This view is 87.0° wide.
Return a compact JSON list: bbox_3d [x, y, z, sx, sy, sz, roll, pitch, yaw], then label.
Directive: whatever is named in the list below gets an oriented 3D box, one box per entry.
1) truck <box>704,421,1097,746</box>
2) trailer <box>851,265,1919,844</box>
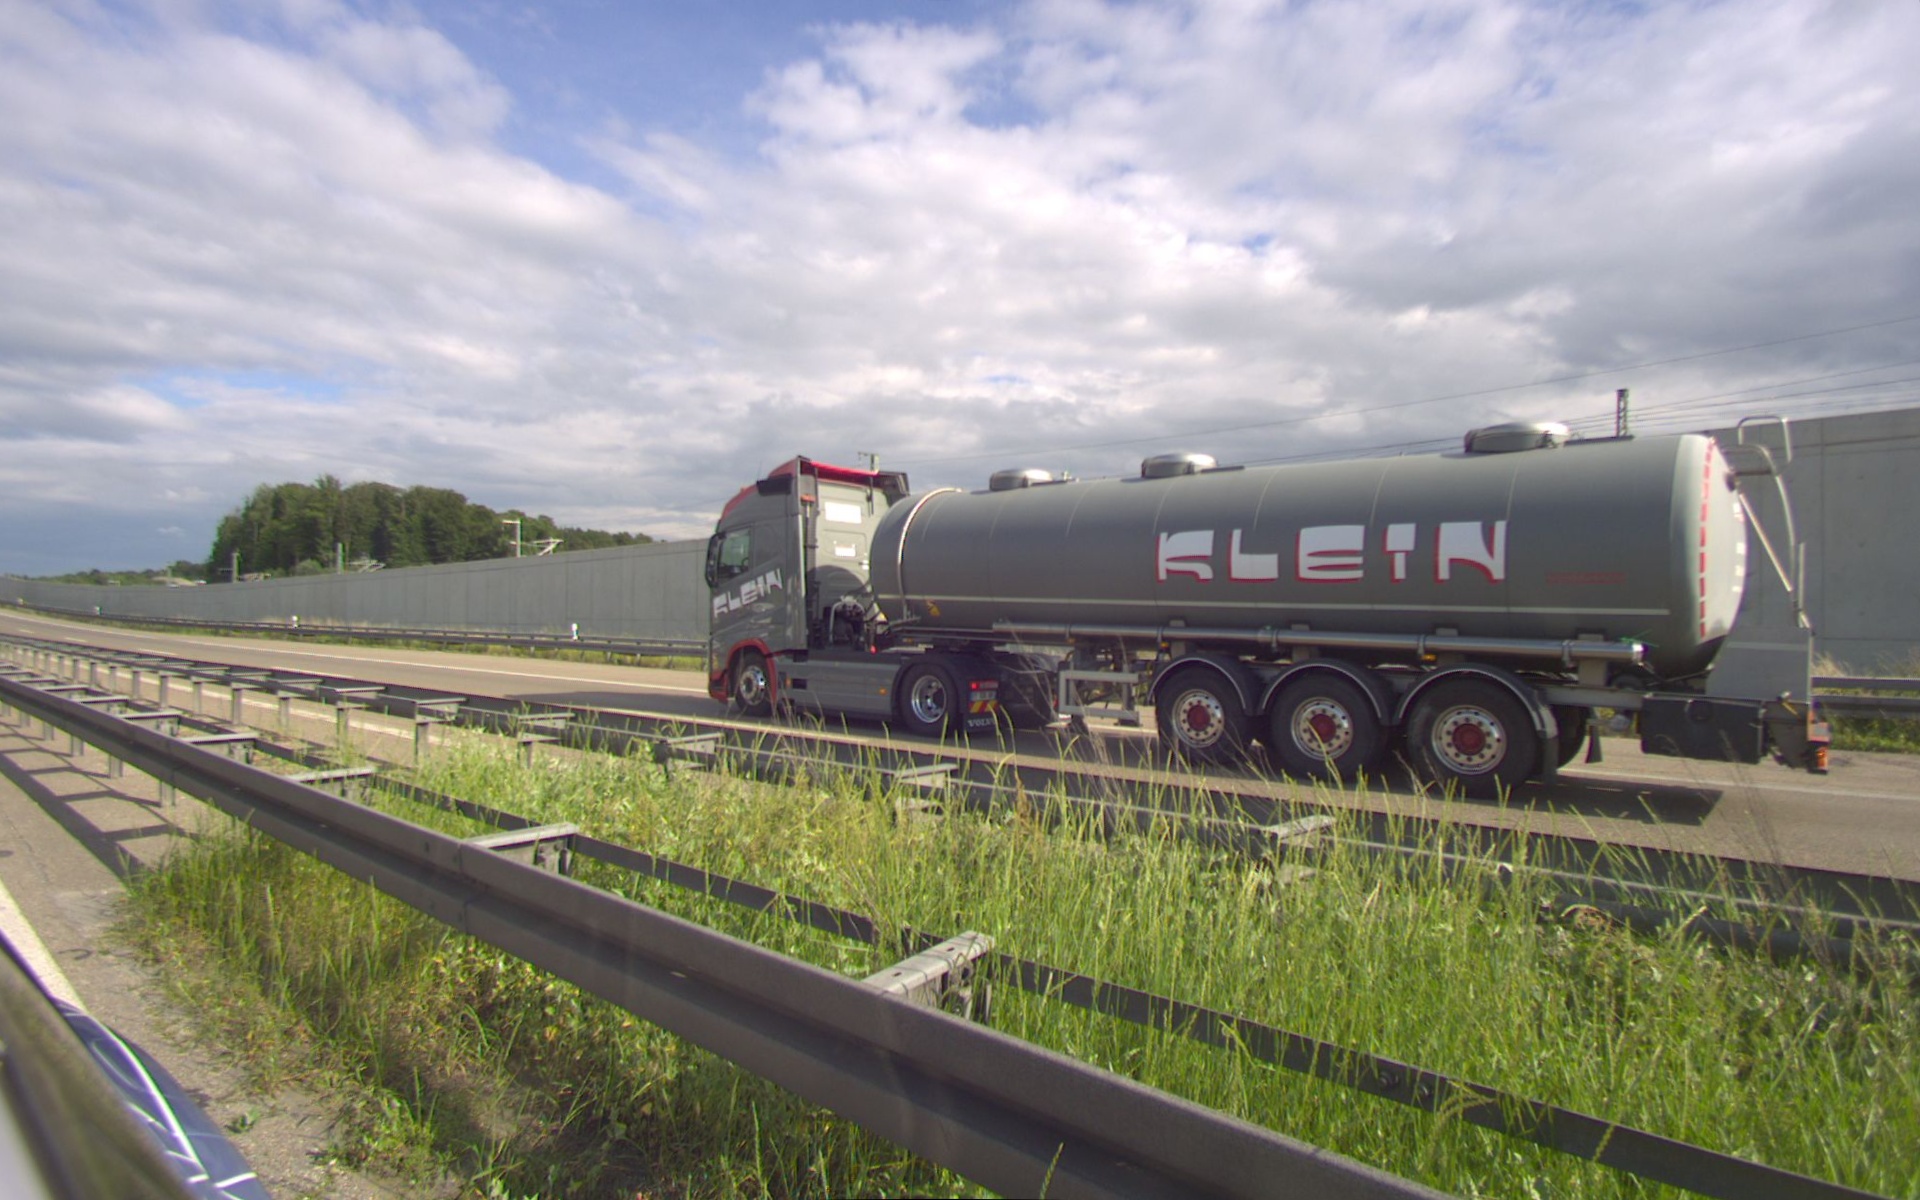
[{"bbox_3d":[-1.060,-0.146,15.152,5.719,3.953,2.555,-1,-2,41],"label":"truck"},{"bbox_3d":[3.461,-0.227,11.199,10.858,3.931,2.561,-1,-2,41],"label":"trailer"}]
